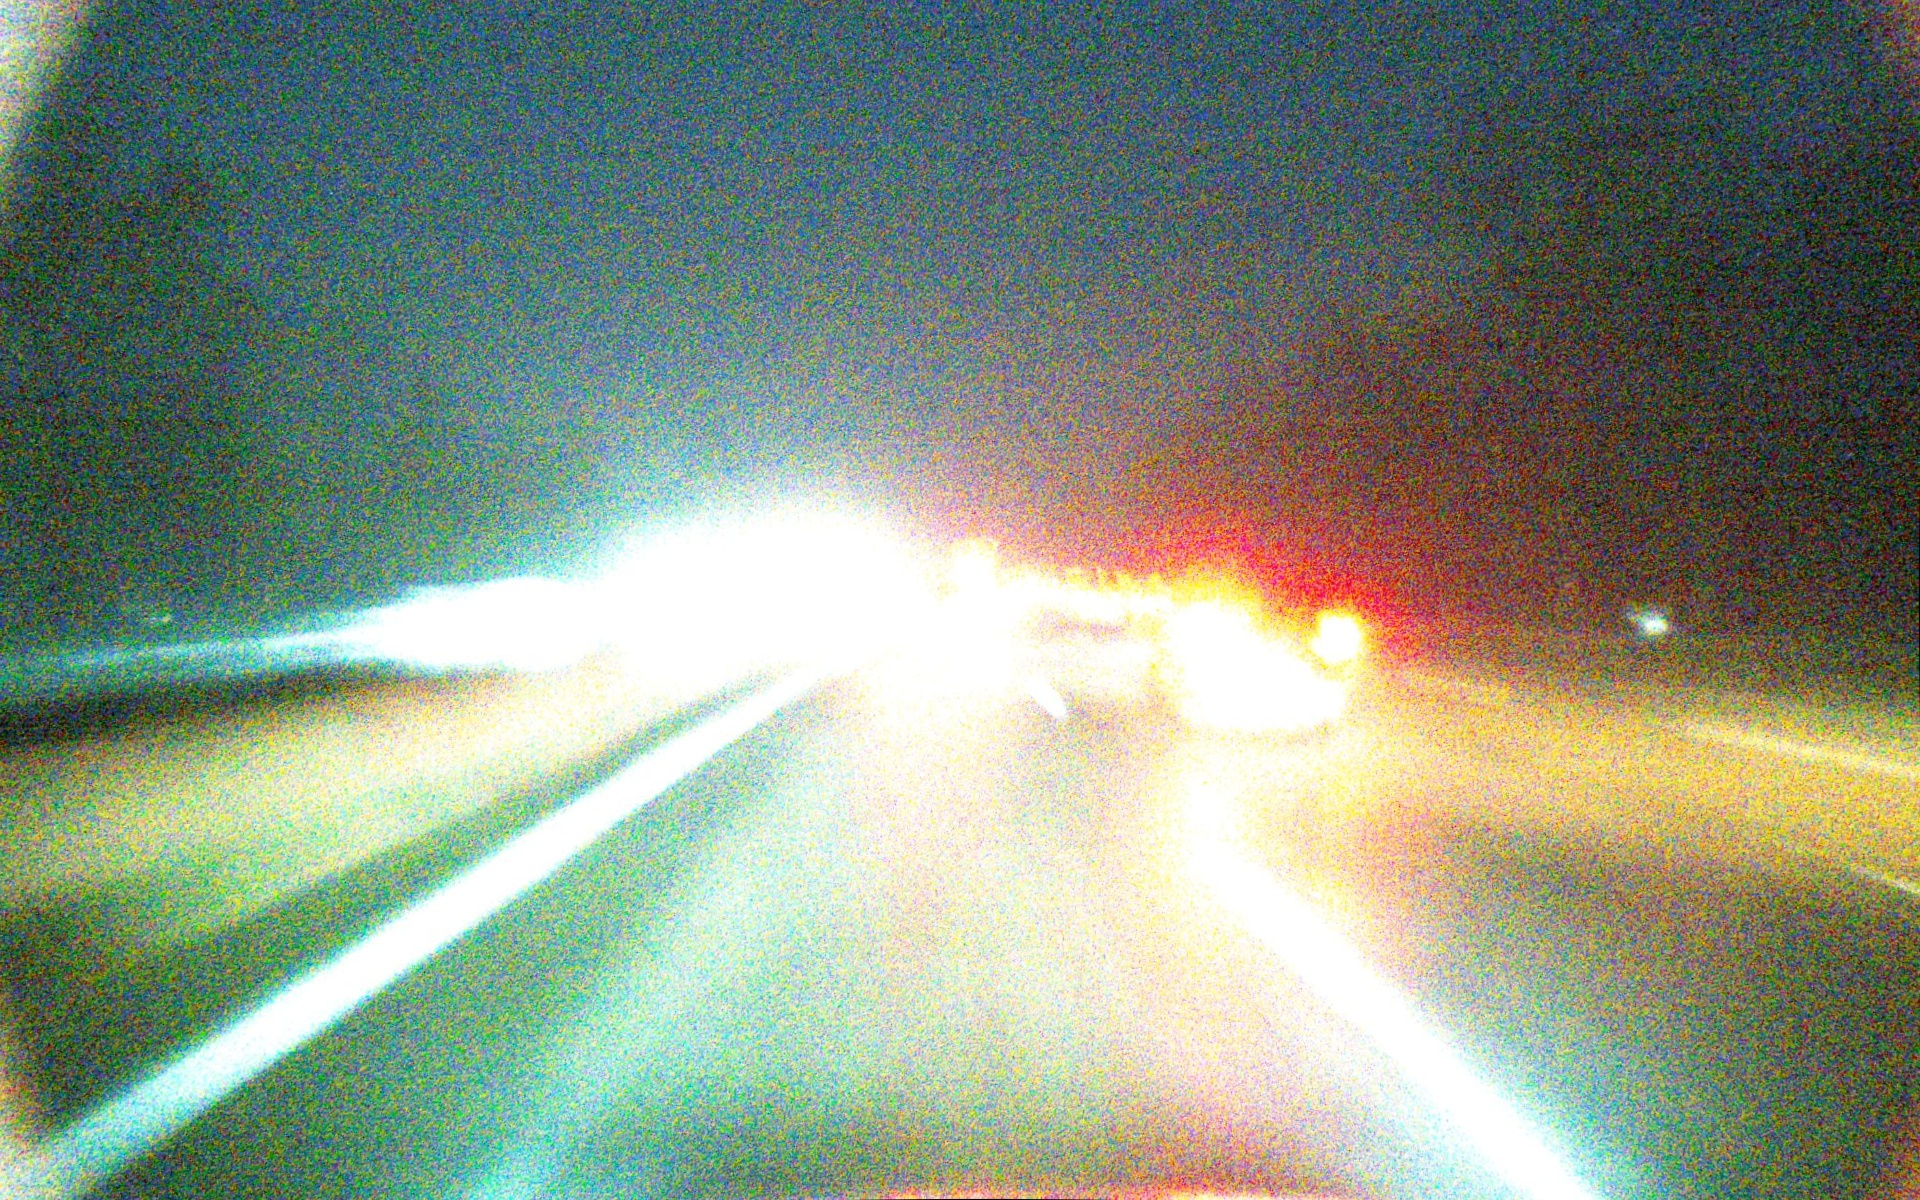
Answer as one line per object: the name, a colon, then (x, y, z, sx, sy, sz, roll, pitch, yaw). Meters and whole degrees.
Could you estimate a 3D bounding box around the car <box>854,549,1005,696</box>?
car: (-0.666, 0.360, 33.007, 2.655, 2.578, 5.828, -2, 1, -2)

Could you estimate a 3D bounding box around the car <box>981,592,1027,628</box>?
car: (2.107, 0.455, 79.810, 2.093, 1.646, 4.000, 1, 0, 0)

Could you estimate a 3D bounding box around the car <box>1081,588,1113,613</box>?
car: (9.299, 0.046, 112.735, 1.818, 1.646, 4.000, 1, 0, 0)

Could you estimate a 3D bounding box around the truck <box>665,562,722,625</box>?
truck: (-18.430, -0.491, 114.710, 2.862, 4.166, 6.992, -1, 1, -1)

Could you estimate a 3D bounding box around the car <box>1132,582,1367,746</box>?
car: (3.081, 0.620, 18.396, 1.846, 1.616, 3.999, 1, 0, -1)

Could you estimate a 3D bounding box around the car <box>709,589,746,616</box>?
car: (-14.311, 0.126, 102.004, 1.760, 1.601, 3.973, -1, 0, -1)

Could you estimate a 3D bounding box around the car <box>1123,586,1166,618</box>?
car: (9.779, 0.104, 87.849, 1.818, 1.646, 4.000, 1, 0, 0)
